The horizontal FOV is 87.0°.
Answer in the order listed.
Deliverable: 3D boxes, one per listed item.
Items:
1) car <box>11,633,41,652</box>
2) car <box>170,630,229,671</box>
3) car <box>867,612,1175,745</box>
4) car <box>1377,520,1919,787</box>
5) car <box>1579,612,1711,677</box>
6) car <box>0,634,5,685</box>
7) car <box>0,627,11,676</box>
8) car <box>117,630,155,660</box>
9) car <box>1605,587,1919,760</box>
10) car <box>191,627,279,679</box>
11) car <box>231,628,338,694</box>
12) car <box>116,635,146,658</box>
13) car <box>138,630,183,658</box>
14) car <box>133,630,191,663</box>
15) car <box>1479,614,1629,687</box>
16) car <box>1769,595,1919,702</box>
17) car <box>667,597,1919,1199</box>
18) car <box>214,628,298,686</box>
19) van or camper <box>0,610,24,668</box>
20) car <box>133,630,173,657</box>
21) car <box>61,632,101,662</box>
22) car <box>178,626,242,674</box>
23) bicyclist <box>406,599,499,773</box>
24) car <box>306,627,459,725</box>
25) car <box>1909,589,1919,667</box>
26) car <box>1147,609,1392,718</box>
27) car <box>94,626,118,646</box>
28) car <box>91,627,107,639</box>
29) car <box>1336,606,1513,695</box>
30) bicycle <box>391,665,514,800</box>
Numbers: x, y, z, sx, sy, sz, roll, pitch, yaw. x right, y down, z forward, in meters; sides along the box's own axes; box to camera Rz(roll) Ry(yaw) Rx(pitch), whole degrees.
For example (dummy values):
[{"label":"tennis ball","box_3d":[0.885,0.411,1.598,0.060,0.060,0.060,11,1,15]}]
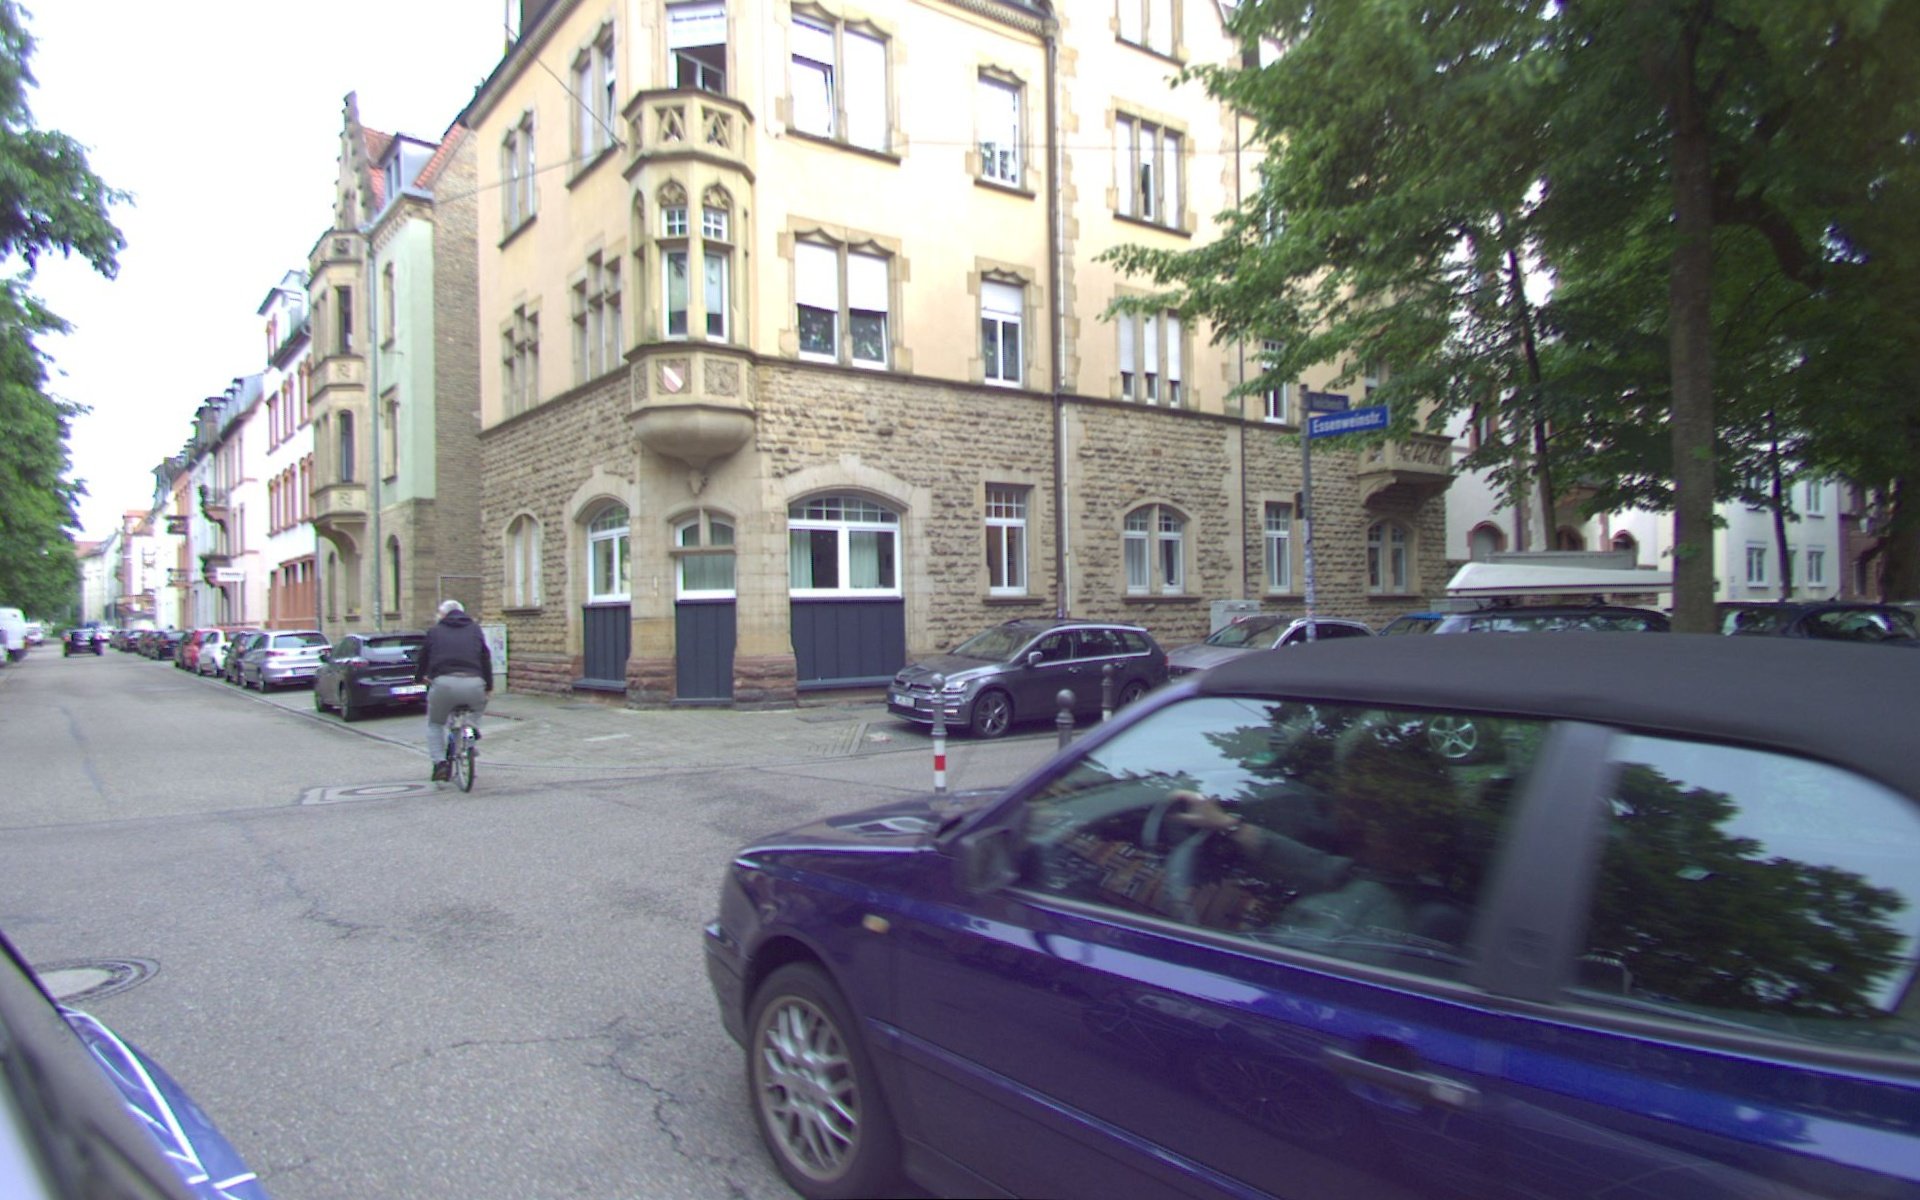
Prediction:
[{"label":"car","box_3d":[-91.095,4.158,98.744,1.969,1.763,4.006,-1,-1,-40]},{"label":"car","box_3d":[-29.229,1.913,38.844,1.447,1.427,3.923,-2,0,-42]},{"label":"car","box_3d":[0.933,0.984,14.274,4.215,1.477,1.667,-1,3,-35]},{"label":"car","box_3d":[6.161,0.446,9.331,3.952,1.983,1.811,-2,-1,35]},{"label":"car","box_3d":[16.887,1.041,24.913,3.334,1.359,1.582,-1,3,-35]},{"label":"car","box_3d":[-31.172,1.878,30.252,1.777,1.575,3.439,-2,-1,25]},{"label":"car","box_3d":[-37.568,1.950,36.972,3.932,1.825,1.725,-1,-1,-31]},{"label":"car","box_3d":[-53.311,2.877,65.429,1.816,1.874,4.006,0,-1,-40]},{"label":"car","box_3d":[9.034,0.669,10.819,1.628,1.528,3.618,-1,-1,-7]},{"label":"car","box_3d":[-23.234,1.665,32.377,3.554,1.522,1.648,-2,-1,44]},{"label":"car","box_3d":[-16.893,1.484,25.240,1.570,1.445,3.813,-2,0,-43]},{"label":"car","box_3d":[-56.830,3.166,69.337,1.435,1.420,3.816,-2,0,-41]},{"label":"car","box_3d":[-42.734,2.337,54.093,1.635,1.393,3.476,-2,0,-42]},{"label":"car","box_3d":[-37.652,2.185,47.723,1.877,1.401,4.005,-1,-1,-42]},{"label":"car","box_3d":[13.063,1.049,22.226,3.334,1.359,1.582,-1,3,-35]},{"label":"car","box_3d":[14.420,0.672,15.259,1.758,1.492,3.650,-1,-1,7]},{"label":"car","box_3d":[1.101,0.715,2.122,1.688,1.424,3.855,0,-1,-44]},{"label":"car","box_3d":[-19.870,1.577,28.527,1.498,1.445,3.460,-2,0,-42]},{"label":"van or camper","box_3d":[-44.644,1.763,44.303,2.056,2.610,5.040,-1,-1,17]},{"label":"car","box_3d":[-46.840,2.528,58.727,1.587,1.483,3.346,0,-1,-43]},{"label":"car","box_3d":[-53.152,2.821,61.242,1.787,1.642,4.214,-1,-1,-41]},{"label":"car","box_3d":[-26.587,1.741,35.827,1.447,1.542,3.573,-2,0,-42]},{"label":"bicyclist","box_3d":[-4.758,0.776,9.478,0.639,1.550,0.678,1,-2,-40]},{"label":"car","box_3d":[-10.334,1.272,17.978,1.706,1.445,3.888,-2,0,-39]},{"label":"car","box_3d":[19.681,0.554,18.195,1.733,1.529,3.758,0,0,2]},{"label":"car","box_3d":[5.239,0.963,16.926,4.215,1.477,1.667,-1,3,-35]},{"label":"car","box_3d":[-96.364,4.065,114.160,2.022,2.099,3.816,-2,0,-41]},{"label":"car","box_3d":[-107.667,4.177,126.521,1.435,1.420,3.816,-2,0,-41]},{"label":"car","box_3d":[9.107,0.919,19.787,3.334,1.477,1.667,-1,3,-35]},{"label":"bicycle","box_3d":[-4.784,1.180,9.479,0.626,1.102,1.802,0,-3,-40]}]
